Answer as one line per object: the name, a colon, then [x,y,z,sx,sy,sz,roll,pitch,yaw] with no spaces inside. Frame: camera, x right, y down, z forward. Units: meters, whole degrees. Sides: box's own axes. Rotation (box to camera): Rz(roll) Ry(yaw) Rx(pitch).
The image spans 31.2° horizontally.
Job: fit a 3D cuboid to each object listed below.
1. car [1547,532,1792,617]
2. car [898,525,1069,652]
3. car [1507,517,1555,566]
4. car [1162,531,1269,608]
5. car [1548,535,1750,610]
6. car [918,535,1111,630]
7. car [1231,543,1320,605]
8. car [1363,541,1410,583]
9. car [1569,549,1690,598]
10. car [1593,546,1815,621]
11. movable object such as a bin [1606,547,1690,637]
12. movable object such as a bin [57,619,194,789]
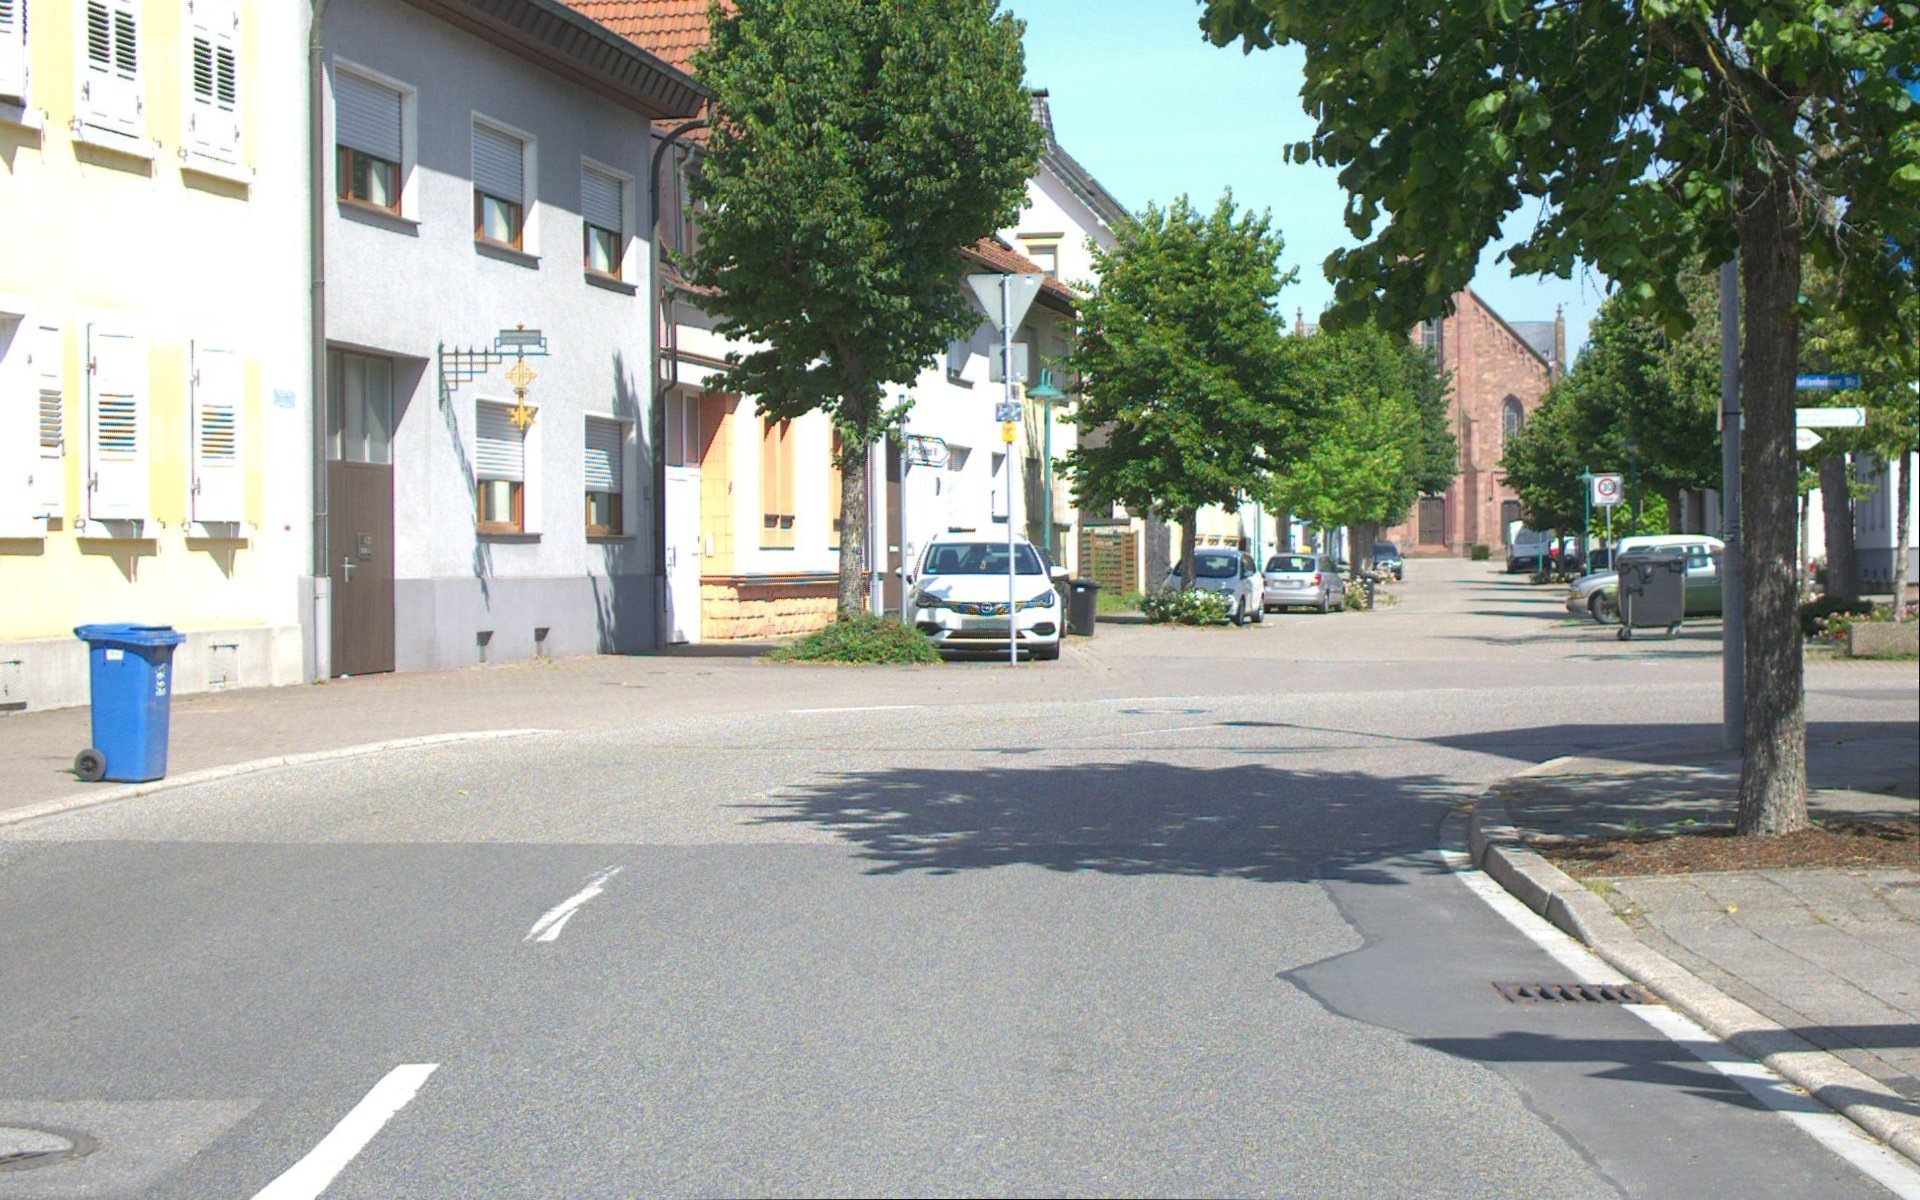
car: [14.457,-0.529,70.336,4.805,1.618,1.999,1,0,10]
car: [0.226,-0.180,41.042,1.849,1.435,4.514,0,1,-2]
car: [27.986,-2.851,168.475,2.246,2.271,4.501,1,0,10]
car: [5.480,-0.668,73.435,1.994,1.568,3.999,-1,1,8]
car: [14.614,-0.600,73.098,4.152,1.563,1.999,0,1,10]
car: [0.942,-0.321,55.376,1.985,1.435,5.208,0,1,14]
car: [7.690,-0.655,84.150,1.994,1.459,4.000,0,1,3]
car: [19.076,-1.704,153.971,1.994,1.809,3.999,-1,1,6]
car: [23.219,-0.924,119.287,3.988,1.612,1.999,-1,1,8]
car: [13.767,-0.322,63.809,3.925,1.340,1.999,0,1,10]
movable object such as a bin: [10.280,-0.123,51.381,1.188,1.333,0.788,-1,1,13]
movable object such as a bin: [-4.936,0.609,20.362,0.642,0.977,0.613,0,1,2]
